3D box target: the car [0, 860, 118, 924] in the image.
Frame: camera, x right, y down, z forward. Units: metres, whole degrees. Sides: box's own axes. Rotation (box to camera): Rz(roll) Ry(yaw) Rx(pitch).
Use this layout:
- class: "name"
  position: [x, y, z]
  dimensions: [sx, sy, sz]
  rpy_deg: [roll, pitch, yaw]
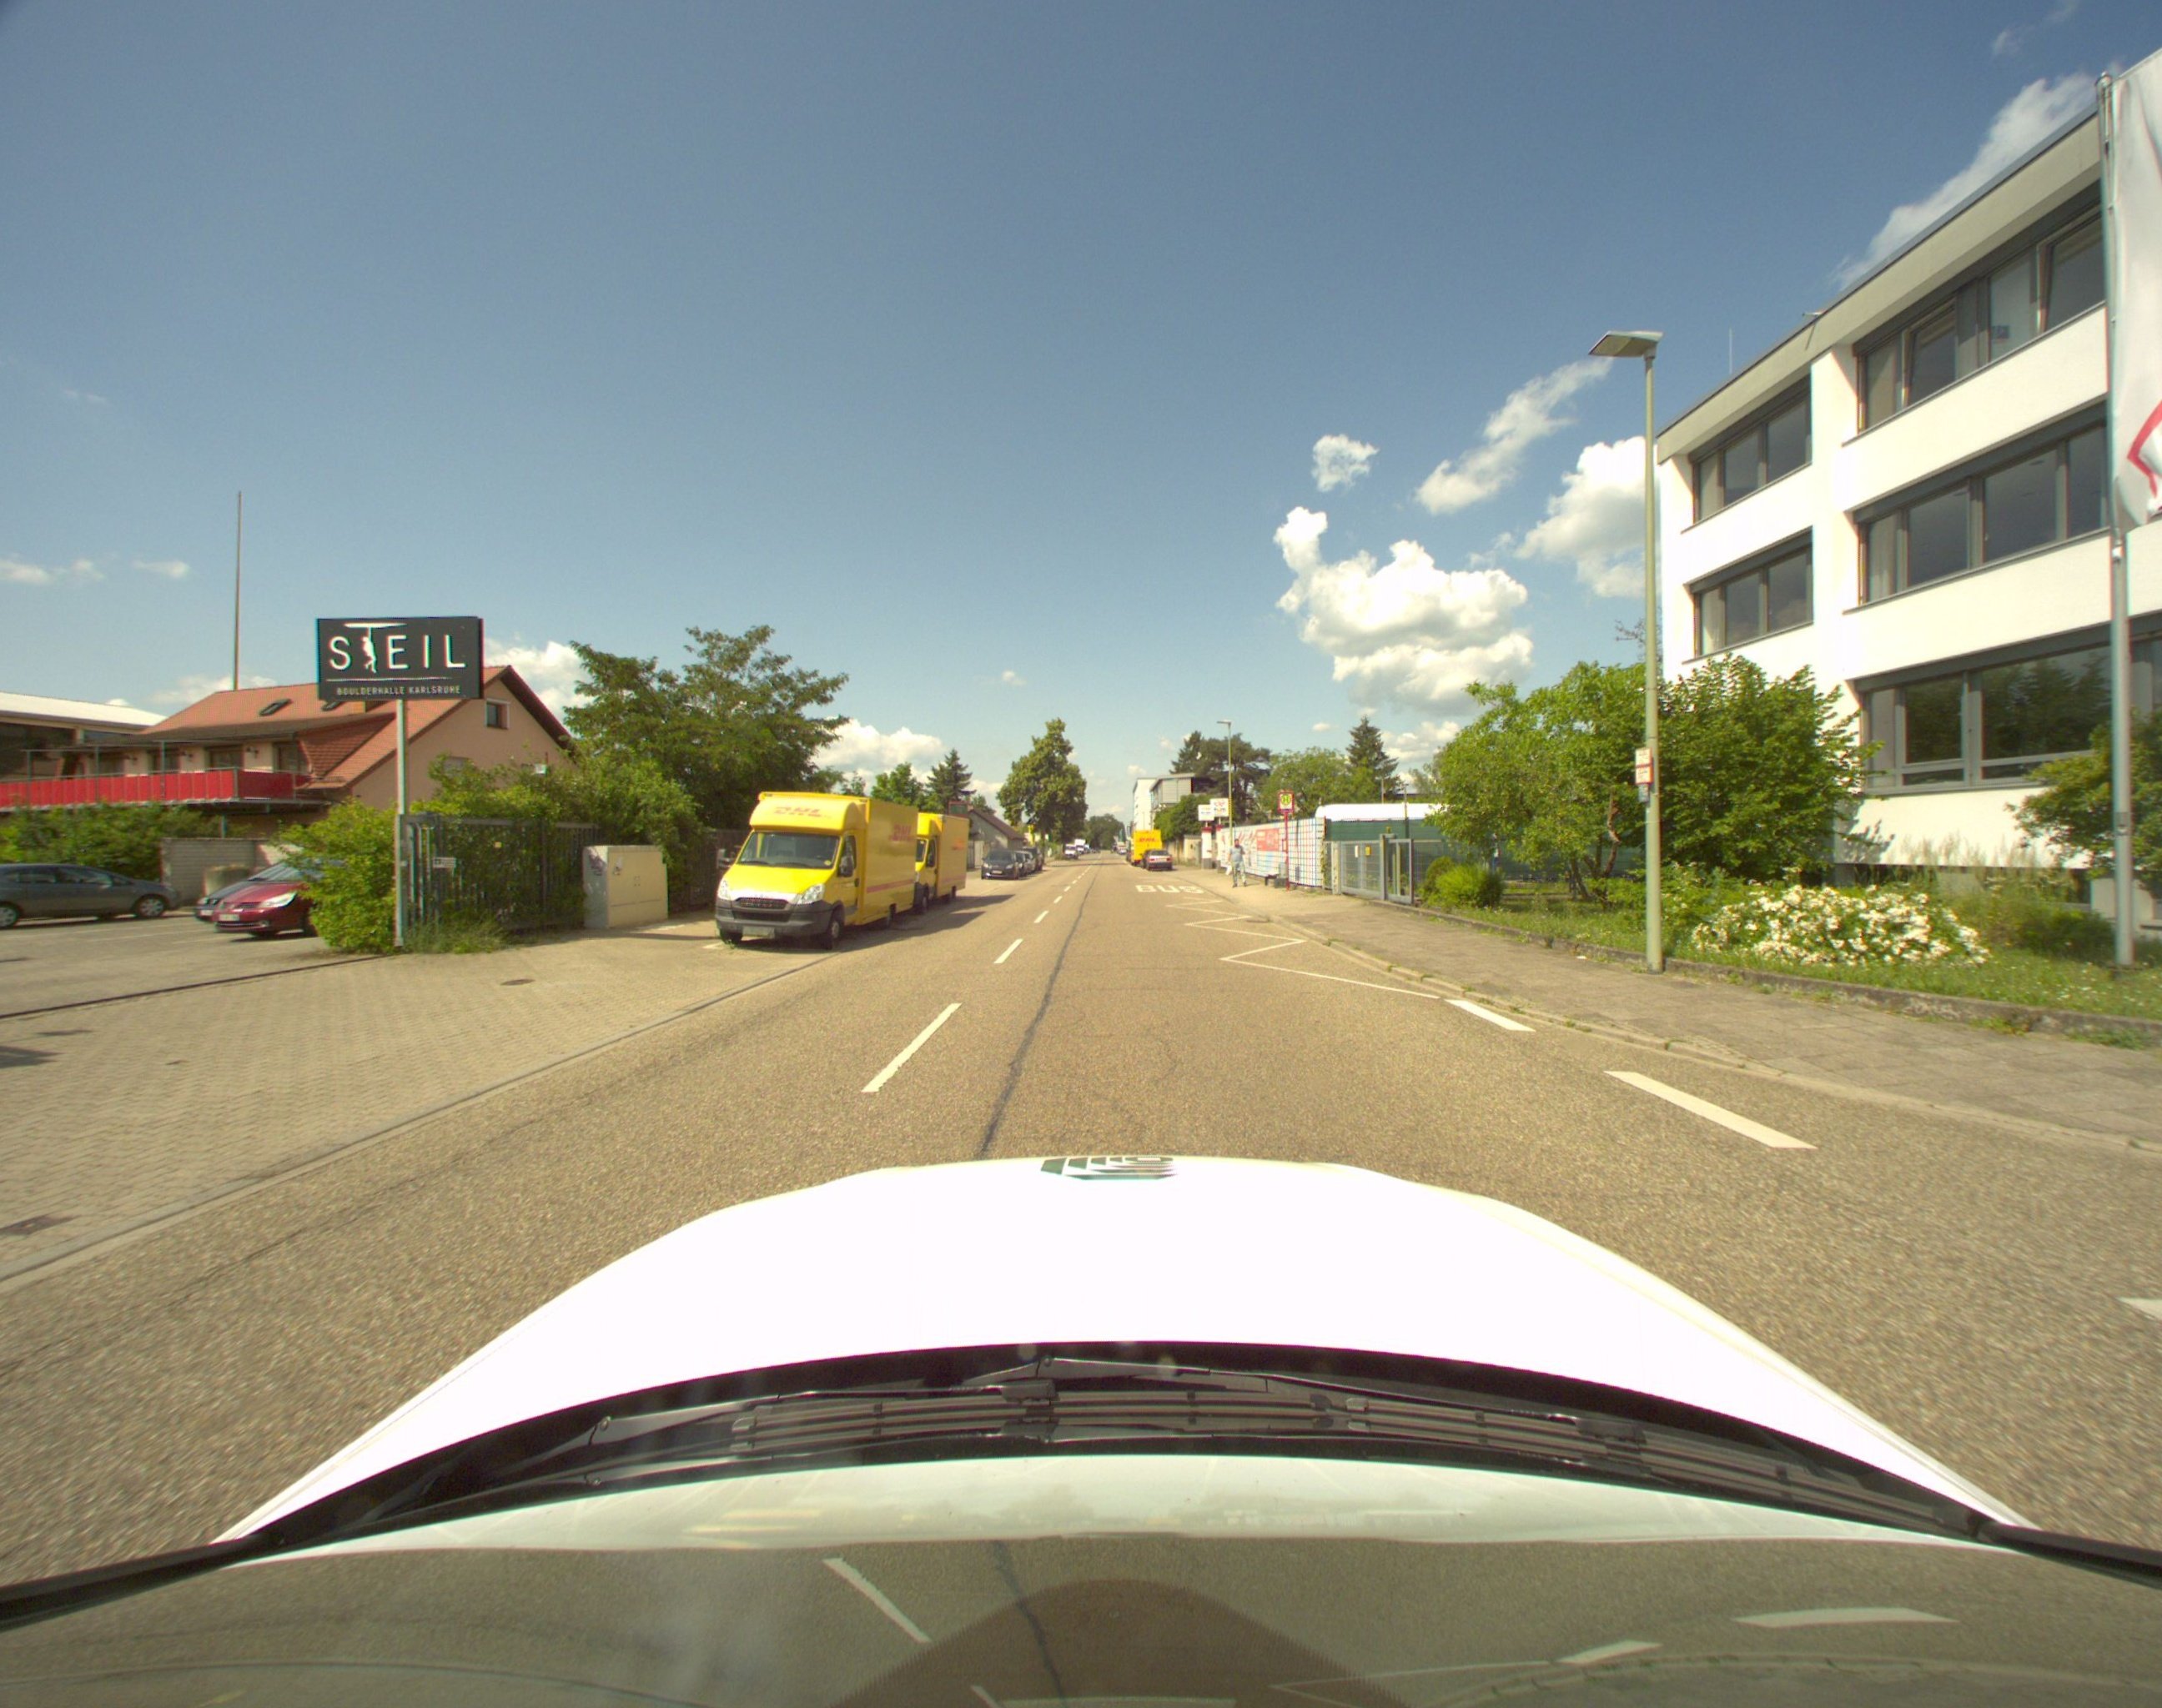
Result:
- class: "car"
  position: [-27.834, 0.987, 20.710]
  dimensions: [1.676, 1.558, 3.947]
  rpy_deg: [-1, 1, 13]

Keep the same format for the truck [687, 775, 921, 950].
- class: "truck"
  position: [-5.264, 0.133, 16.987]
  dimensions: [2.261, 2.854, 7.176]
  rpy_deg: [0, 0, 1]

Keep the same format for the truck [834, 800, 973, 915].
- class: "truck"
  position: [-5.006, 0.048, 24.320]
  dimensions: [2.307, 2.862, 7.108]
  rpy_deg: [2, 1, 2]

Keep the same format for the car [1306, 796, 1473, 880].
- class: "car"
  position: [10.369, -0.539, 27.589]
  dimensions: [4.900, 2.651, 2.069]
  rpy_deg: [-1, 0, -6]

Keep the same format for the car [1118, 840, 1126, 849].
- class: "car"
  position: [9.190, -2.121, 183.446]
  dimensions: [1.701, 2.089, 4.001]
  rpy_deg: [-1, 1, 1]

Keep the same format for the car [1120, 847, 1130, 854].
- class: "car"
  position: [8.550, -0.648, 159.231]
  dimensions: [1.921, 1.310, 4.002]
  rpy_deg: [-1, 1, 2]

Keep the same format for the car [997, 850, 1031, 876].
- class: "car"
  position: [-4.040, 0.520, 49.457]
  dimensions: [1.622, 1.448, 4.027]
  rpy_deg: [3, 1, 1]

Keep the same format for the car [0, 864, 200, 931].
- class: "car"
  position: [-24.824, 1.022, 20.049]
  dimensions: [1.526, 1.428, 3.992]
  rpy_deg: [-1, 1, 13]

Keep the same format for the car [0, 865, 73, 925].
- class: "car"
  position: [-30.219, 1.150, 22.030]
  dimensions: [1.686, 1.574, 3.268]
  rpy_deg: [-1, 1, 12]

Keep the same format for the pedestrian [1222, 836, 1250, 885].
- class: "pedestrian"
  position: [5.608, 0.244, 29.517]
  dimensions: [0.714, 1.697, 0.522]
  rpy_deg: [-6, 0, -3]

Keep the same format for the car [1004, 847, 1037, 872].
- class: "car"
  position: [-4.064, 0.342, 55.192]
  dimensions: [1.727, 1.518, 4.744]
  rpy_deg: [1, 1, 1]

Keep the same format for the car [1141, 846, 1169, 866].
- class: "car"
  position: [5.370, 0.119, 59.781]
  dimensions: [1.656, 1.441, 4.283]
  rpy_deg: [-1, 1, 0]

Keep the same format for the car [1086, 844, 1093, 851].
- class: "car"
  position: [2.214, -1.752, 211.732]
  dimensions: [1.706, 1.650, 4.002]
  rpy_deg: [-1, 1, 2]

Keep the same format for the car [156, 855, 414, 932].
- class: "car"
  position: [-18.334, 0.837, 19.040]
  dimensions: [1.752, 1.512, 3.933]
  rpy_deg: [-1, 1, 14]

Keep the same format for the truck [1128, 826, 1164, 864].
- class: "truck"
  position: [5.220, -0.701, 66.727]
  dimensions: [2.466, 2.940, 7.189]
  rpy_deg: [0, 0, 1]

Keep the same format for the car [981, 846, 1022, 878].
- class: "car"
  position: [-4.294, 0.399, 44.389]
  dimensions: [1.719, 1.604, 4.414]
  rpy_deg: [2, 1, 0]

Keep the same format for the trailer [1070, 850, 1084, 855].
- class: "trailer"
  position: [-0.808, -0.317, 157.449]
  dimensions: [2.408, 0.813, 5.540]
  rpy_deg: [1, 1, 2]

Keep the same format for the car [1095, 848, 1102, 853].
- class: "car"
  position: [4.818, -1.043, 221.896]
  dimensions: [1.648, 1.324, 4.419]
  rpy_deg: [-1, 1, 2]

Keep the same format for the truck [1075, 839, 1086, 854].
- class: "truck"
  position: [-0.093, -1.610, 171.530]
  dimensions: [2.021, 3.153, 6.503]
  rpy_deg: [-1, 1, 2]

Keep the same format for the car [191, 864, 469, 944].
- class: "car"
  position: [-15.610, 0.979, 17.223]
  dimensions: [1.795, 1.305, 3.886]
  rpy_deg: [-2, 1, 17]

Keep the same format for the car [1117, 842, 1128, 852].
- class: "car"
  position: [8.848, -1.504, 173.129]
  dimensions: [2.208, 2.013, 5.488]
  rpy_deg: [-1, 1, 2]

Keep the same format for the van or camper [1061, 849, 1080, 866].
- class: "van or camper"
  position: [-1.644, 0.539, 126.522]
  dimensions: [2.163, 2.413, 7.708]
  rpy_deg: [-1, 1, 5]

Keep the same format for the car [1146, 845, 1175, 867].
- class: "car"
  position: [5.340, 0.102, 55.005]
  dimensions: [1.645, 1.386, 4.425]
  rpy_deg: [0, 1, 2]

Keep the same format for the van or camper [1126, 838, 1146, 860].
- class: "van or camper"
  position: [5.831, -0.526, 86.877]
  dimensions: [1.986, 2.291, 5.450]
  rpy_deg: [1, 0, 2]
